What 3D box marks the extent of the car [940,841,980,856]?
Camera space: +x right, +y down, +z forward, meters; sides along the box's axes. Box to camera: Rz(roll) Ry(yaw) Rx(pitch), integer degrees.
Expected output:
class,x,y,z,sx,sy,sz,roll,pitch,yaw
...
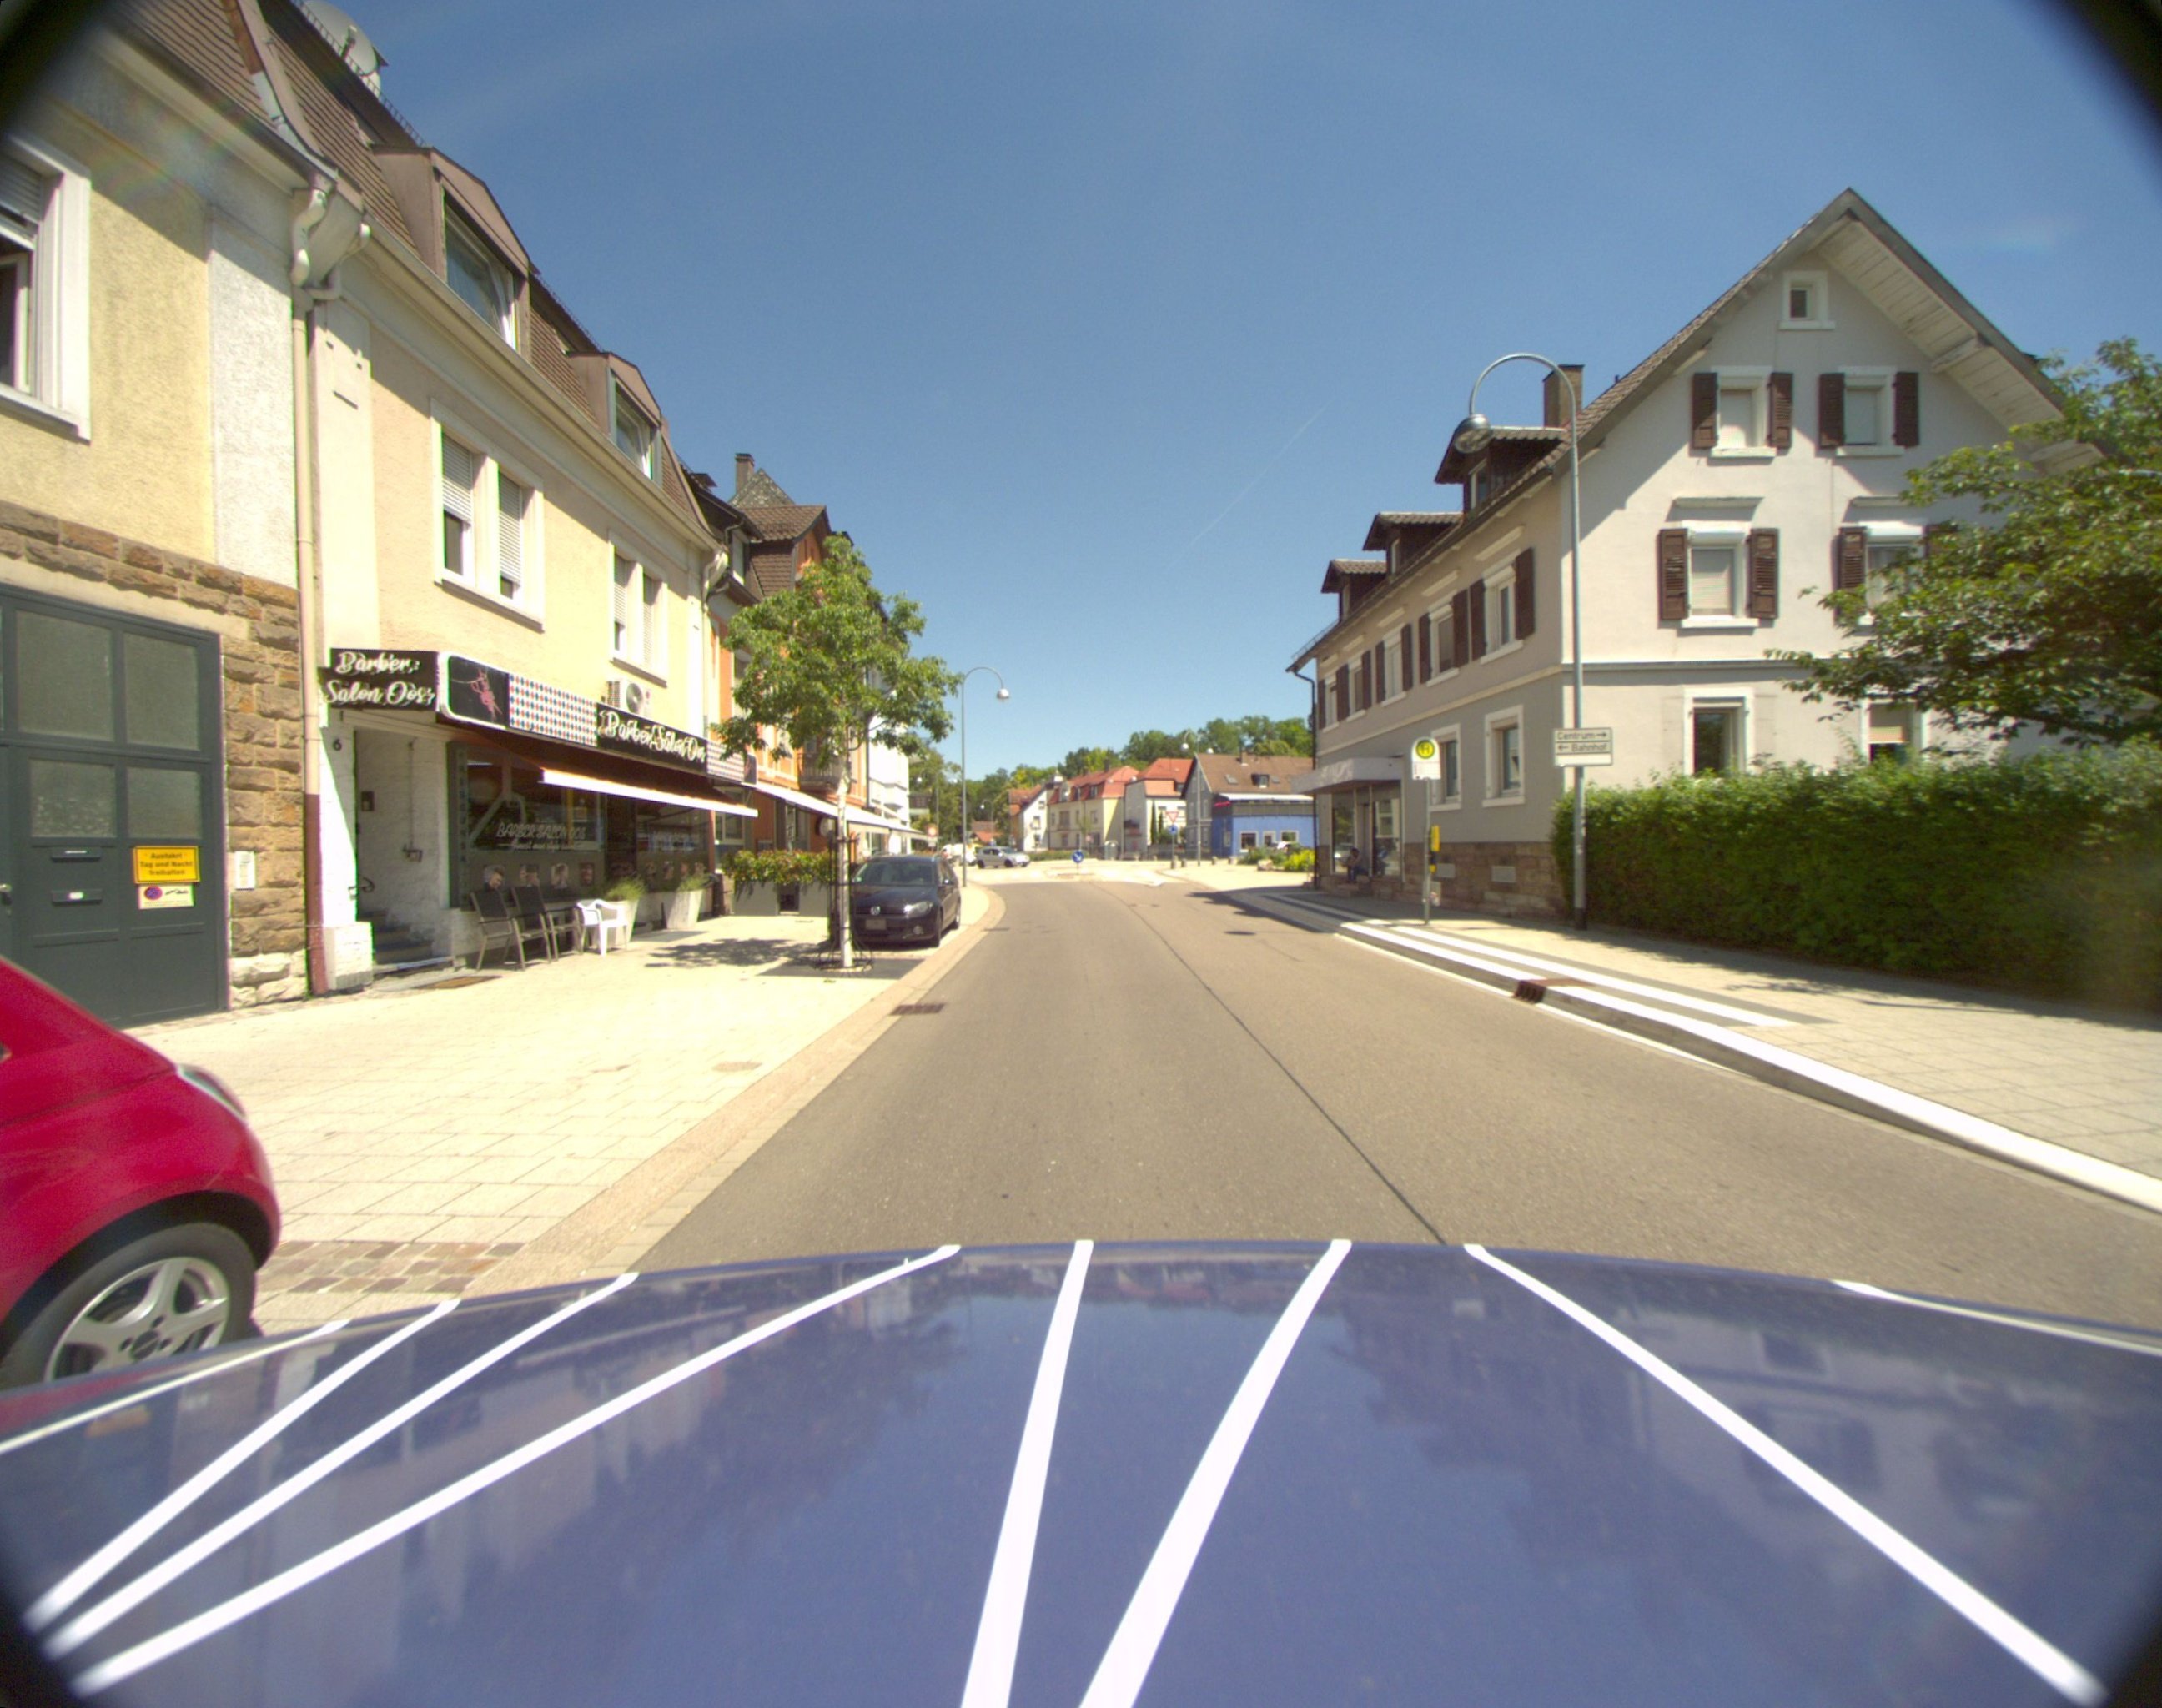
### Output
class,x,y,z,sx,sy,sz,roll,pitch,yaw
car,-20.643,-0.969,129.891,6.360,2.447,2.306,-2,1,-3

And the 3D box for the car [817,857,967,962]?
class,x,y,z,sx,sy,sz,roll,pitch,yaw
car,-3.153,0.837,13.521,1.735,1.464,4.322,2,1,-3

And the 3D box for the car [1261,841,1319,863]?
class,x,y,z,sx,sy,sz,roll,pitch,yaw
car,16.172,-0.178,58.904,3.920,1.599,1.813,1,3,-17

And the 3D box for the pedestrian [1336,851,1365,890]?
class,x,y,z,sx,sy,sz,roll,pitch,yaw
pedestrian,7.516,0.451,21.207,0.598,1.053,0.567,-1,1,-4

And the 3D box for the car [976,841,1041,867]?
class,x,y,z,sx,sy,sz,roll,pitch,yaw
car,-5.052,0.002,52.850,4.179,1.587,2.003,-1,3,38

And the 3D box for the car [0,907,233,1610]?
class,x,y,z,sx,sy,sz,roll,pitch,yaw
car,-3.188,0.914,0.420,1.683,1.505,3.385,1,1,-1
